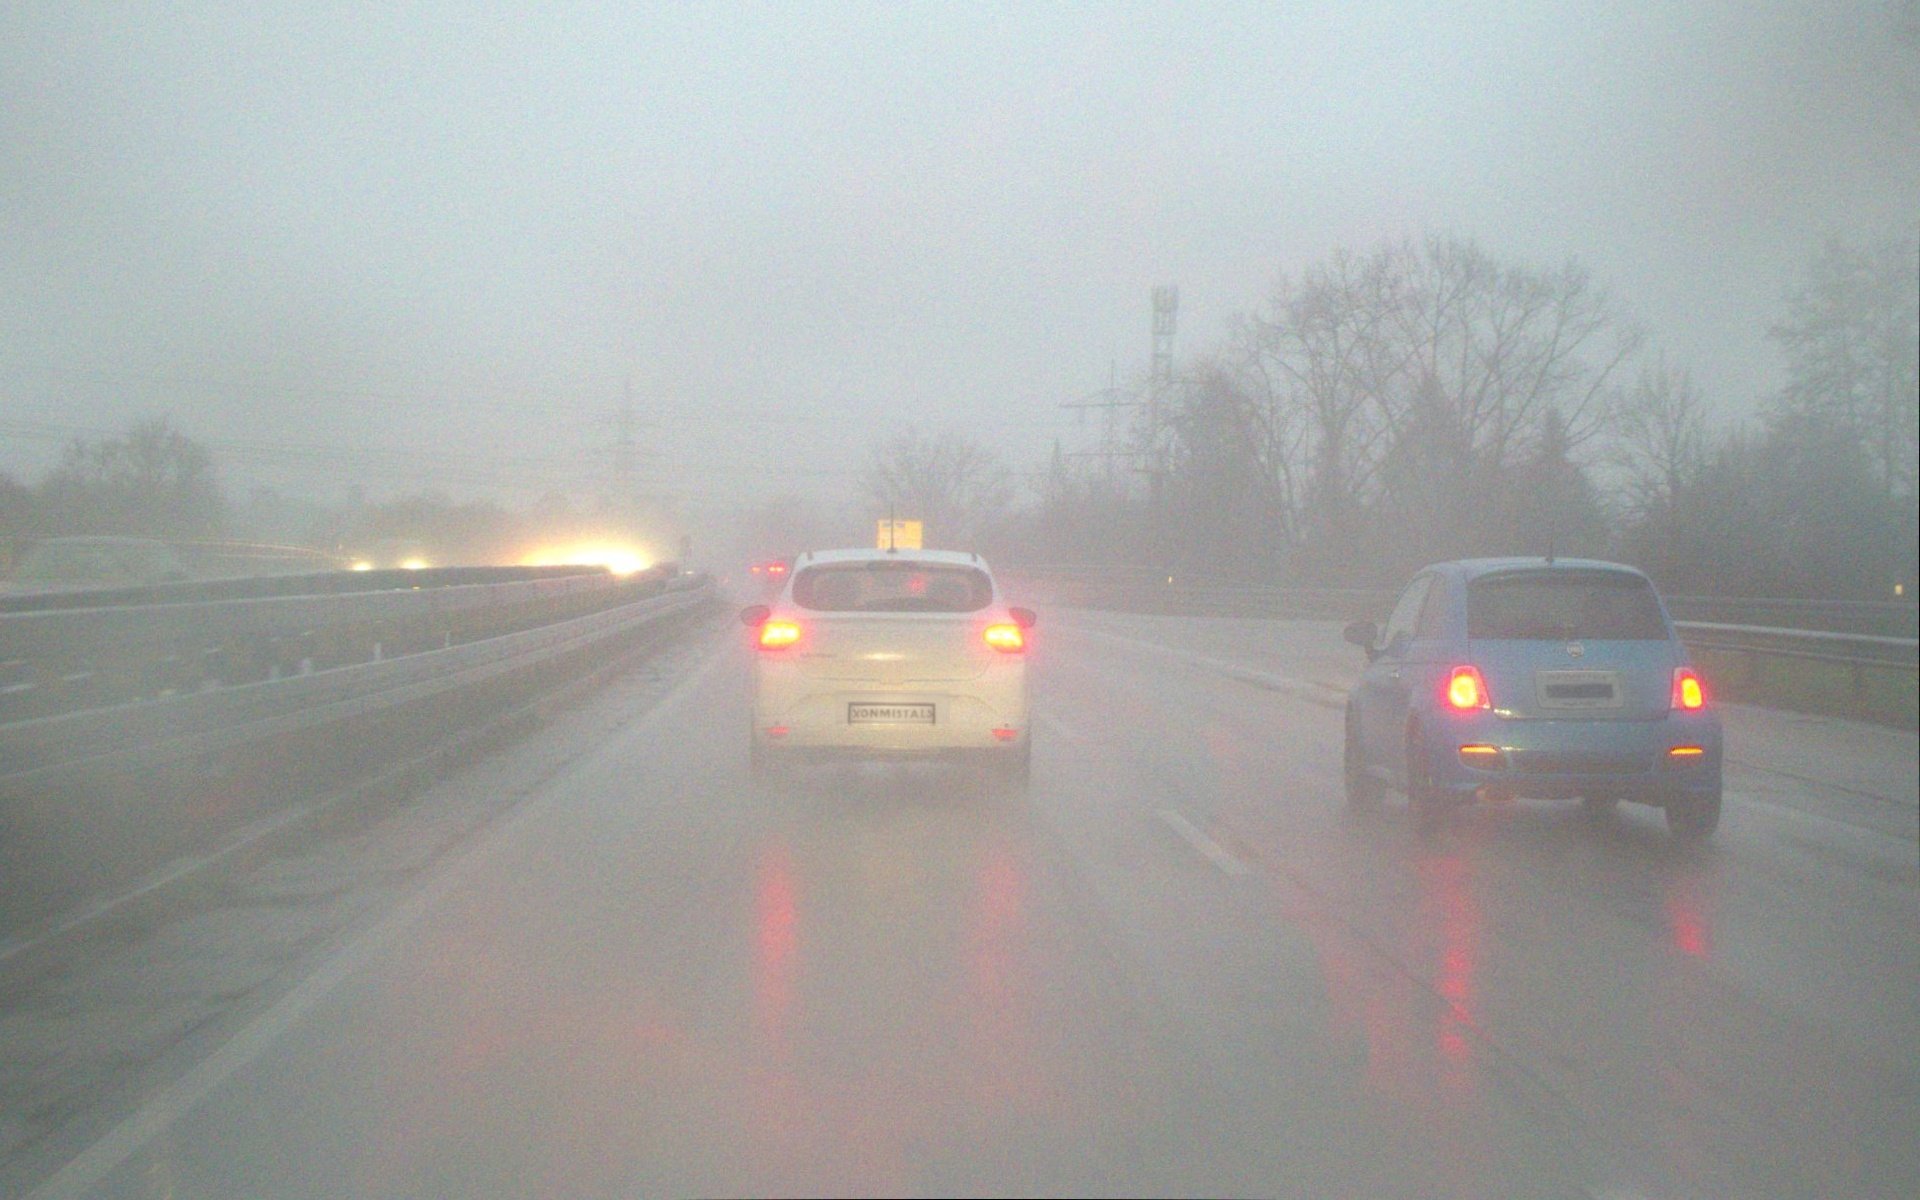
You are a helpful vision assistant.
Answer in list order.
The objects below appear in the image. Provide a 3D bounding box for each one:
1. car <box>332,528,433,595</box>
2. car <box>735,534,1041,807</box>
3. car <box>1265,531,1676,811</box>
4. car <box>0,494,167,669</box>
[{"bbox_3d":[-16.032,-1.070,95.619,1.895,1.778,4.704,1,1,1],"label":"car"},{"bbox_3d":[-0.456,0.396,22.814,1.845,1.630,3.768,1,1,-1],"label":"car"},{"bbox_3d":[2.881,0.333,20.247,1.845,1.448,4.149,1,1,1],"label":"car"},{"bbox_3d":[-9.346,-0.224,34.648,1.740,1.634,4.000,3,1,0],"label":"car"}]
